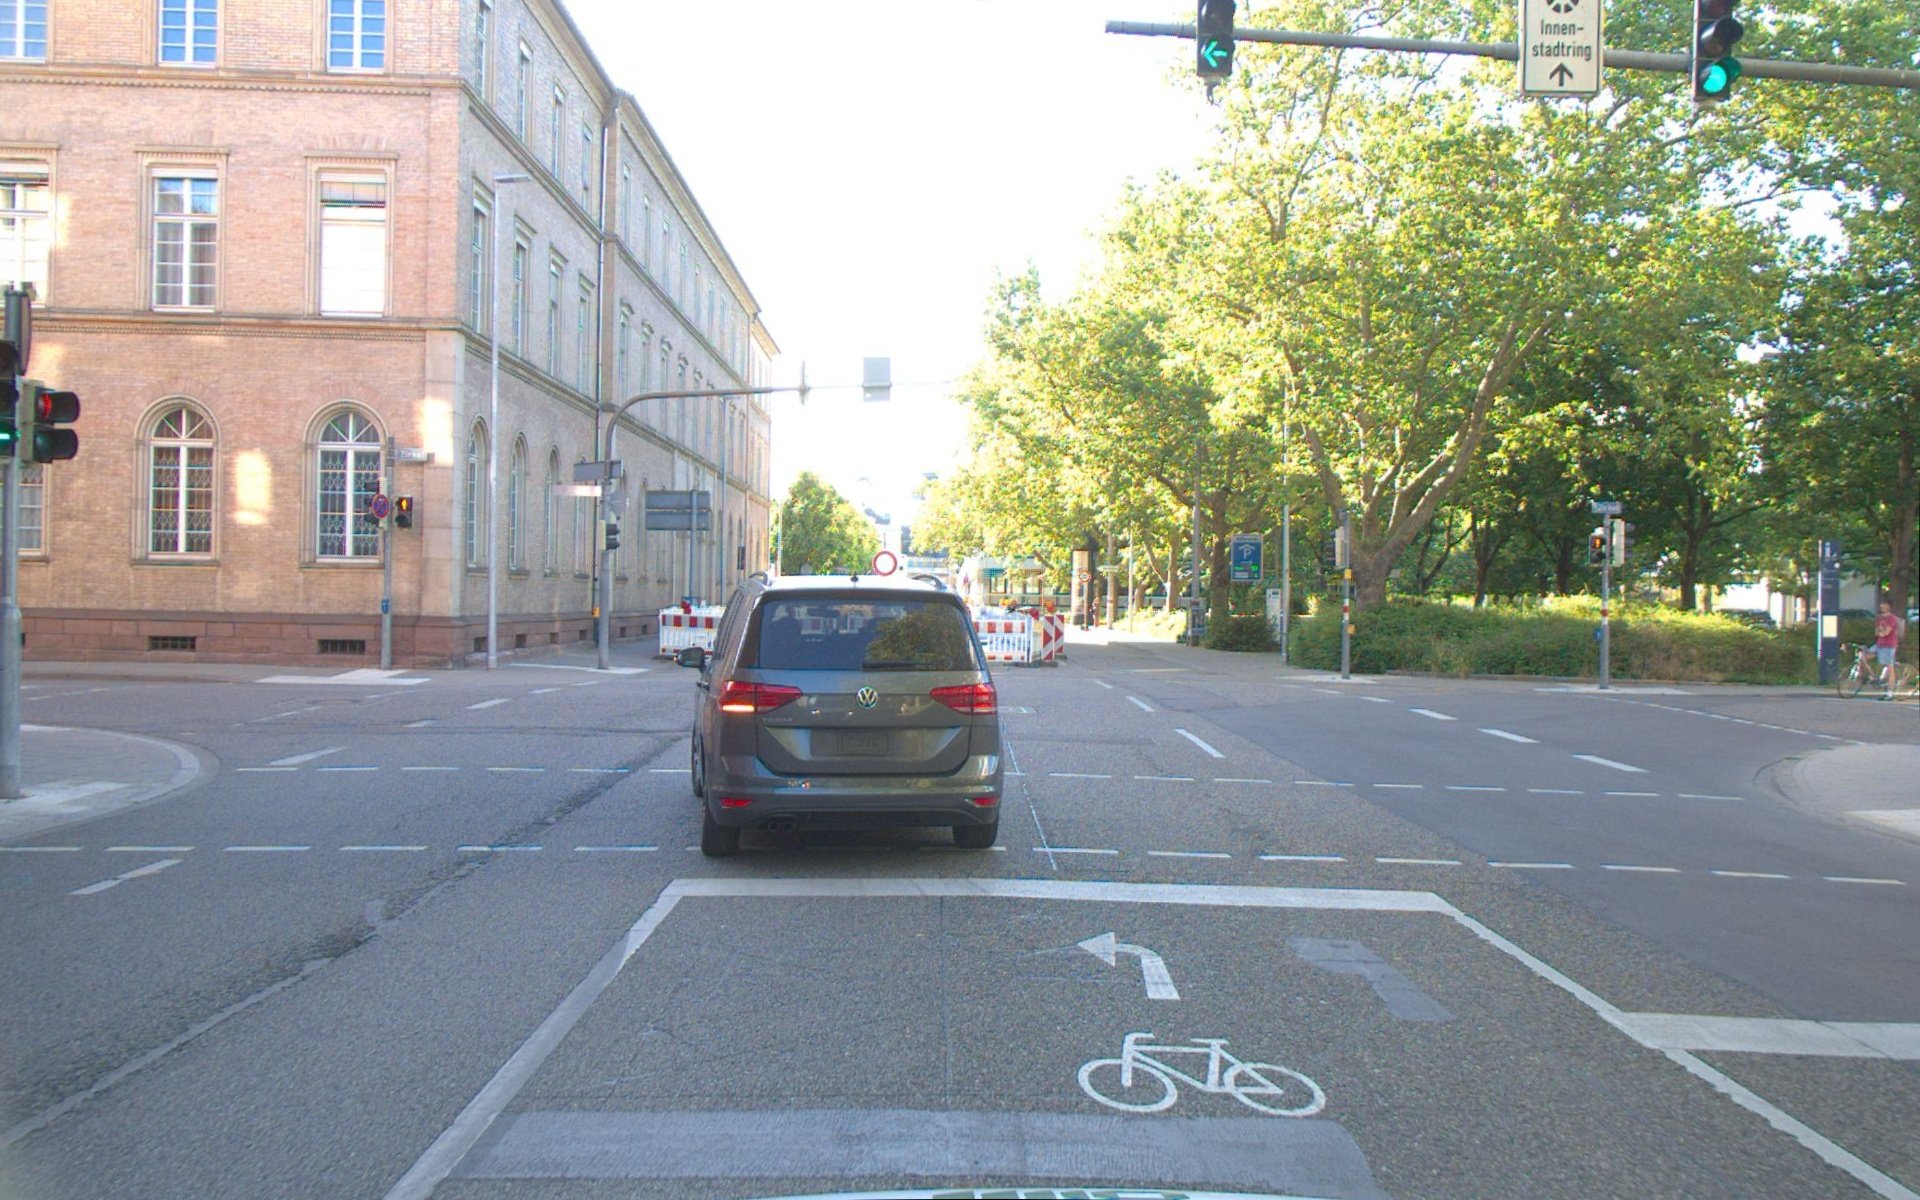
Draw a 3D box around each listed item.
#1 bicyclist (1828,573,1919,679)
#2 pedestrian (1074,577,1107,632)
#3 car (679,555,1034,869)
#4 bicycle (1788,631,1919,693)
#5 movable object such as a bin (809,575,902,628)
[{"bbox_3d":[16.321,0.460,29.518,1.106,1.839,0.977,1,0,-4],"label":"bicyclist"},{"bbox_3d":[6.495,0.232,82.349,1.393,2.714,1.145,1,0,-10],"label":"pedestrian"},{"bbox_3d":[-0.865,0.585,10.759,1.731,1.635,3.988,1,0,-12],"label":"car"},{"bbox_3d":[16.474,1.107,29.543,2.937,1.056,0.942,1,0,-5],"label":"bicycle"},{"bbox_3d":[-5.730,0.068,90.264,4.755,2.825,2.459,1,0,41],"label":"movable object such as a bin"}]
